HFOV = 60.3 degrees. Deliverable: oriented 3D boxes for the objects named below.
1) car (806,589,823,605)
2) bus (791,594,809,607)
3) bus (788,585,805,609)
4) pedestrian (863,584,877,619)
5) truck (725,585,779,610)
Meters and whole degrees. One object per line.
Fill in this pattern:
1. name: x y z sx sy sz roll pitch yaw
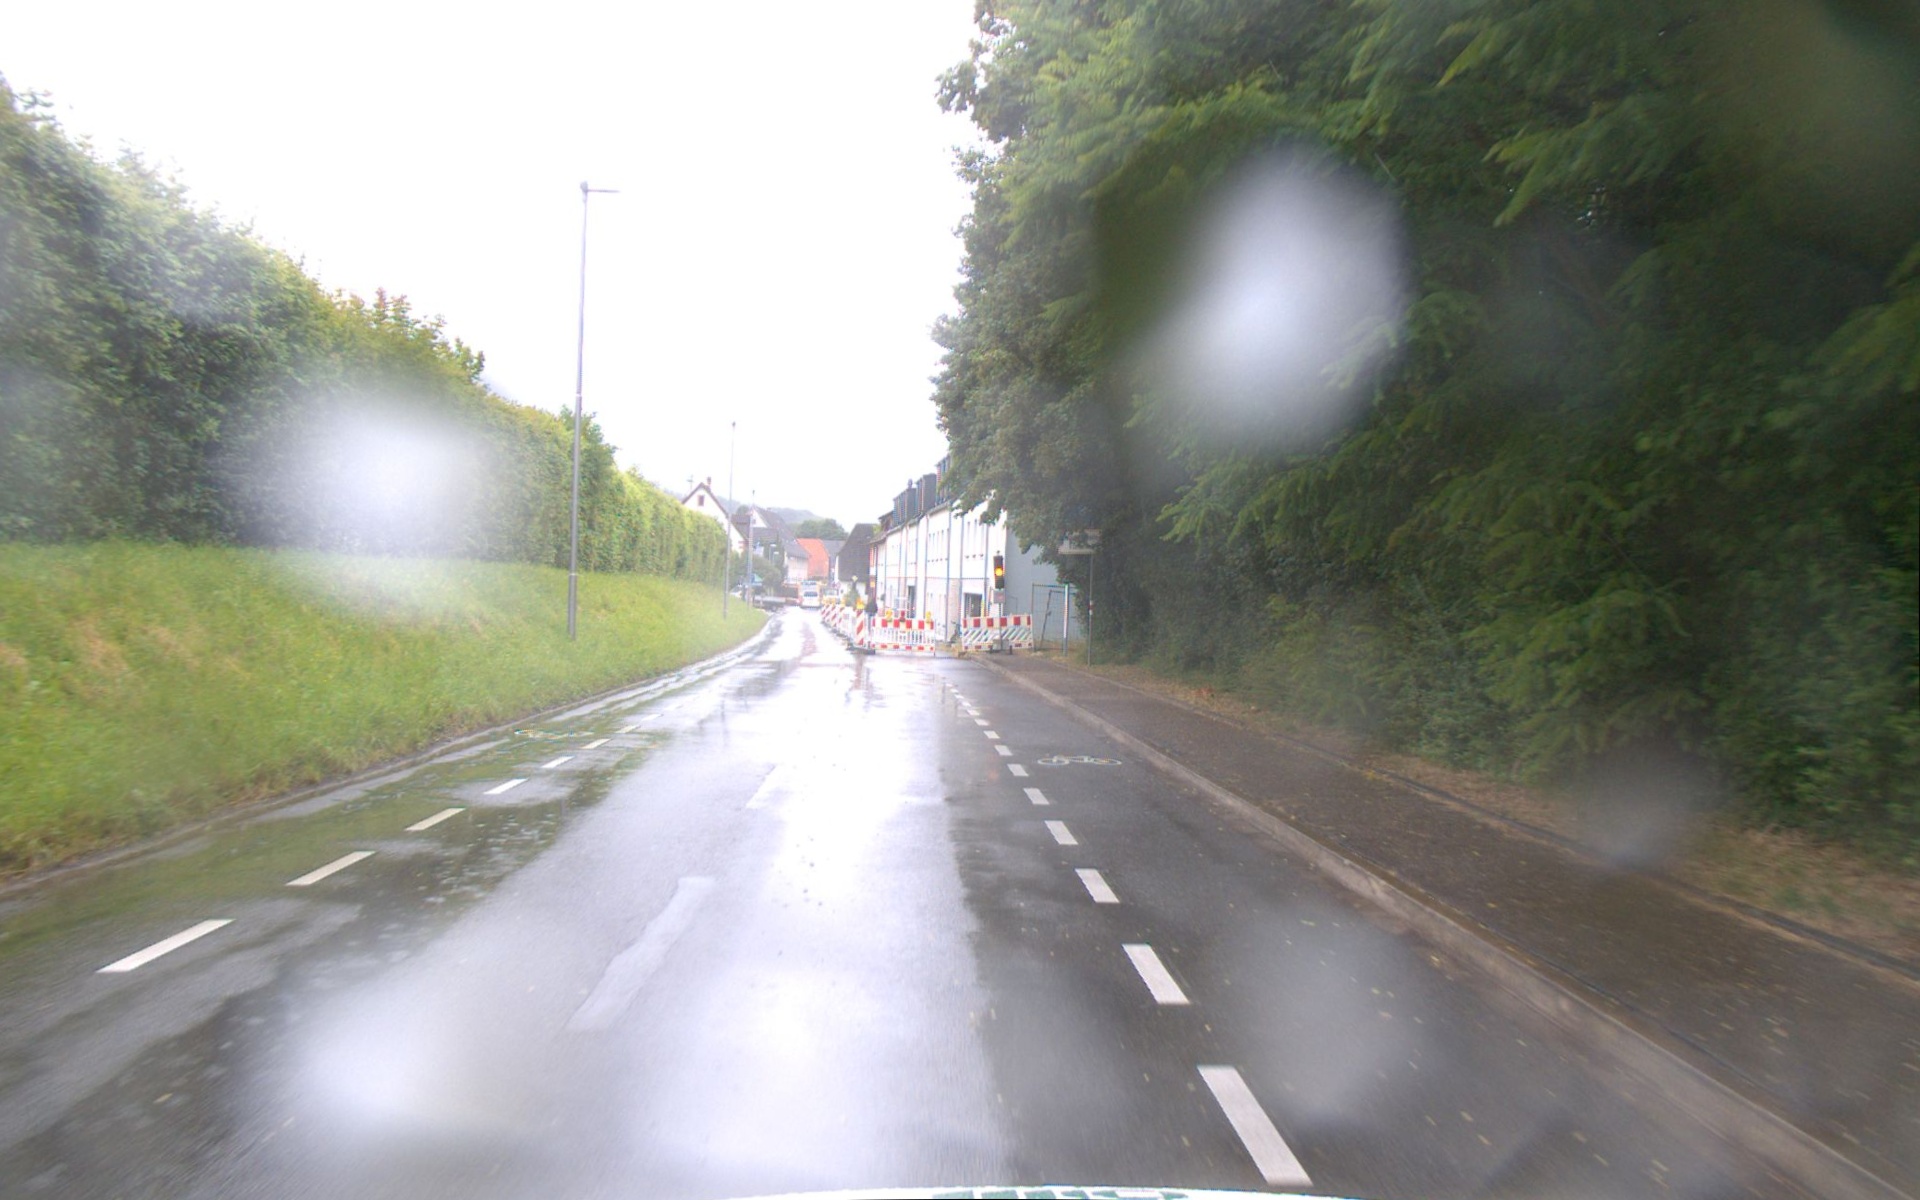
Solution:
1. car: -15.505 -0.358 176.191 1.783 1.670 4.091 0 0 -6
2. bus: -18.884 0.025 195.181 1.758 1.434 3.999 3 -1 -1
3. bus: -21.445 -0.374 216.742 2.198 3.157 7.020 0 0 -6
4. pedestrian: -4.679 0.076 85.850 0.653 1.786 0.810 0 0 -9
5. truck: -19.039 -0.222 151.387 4.797 2.048 1.997 3 1 -8
